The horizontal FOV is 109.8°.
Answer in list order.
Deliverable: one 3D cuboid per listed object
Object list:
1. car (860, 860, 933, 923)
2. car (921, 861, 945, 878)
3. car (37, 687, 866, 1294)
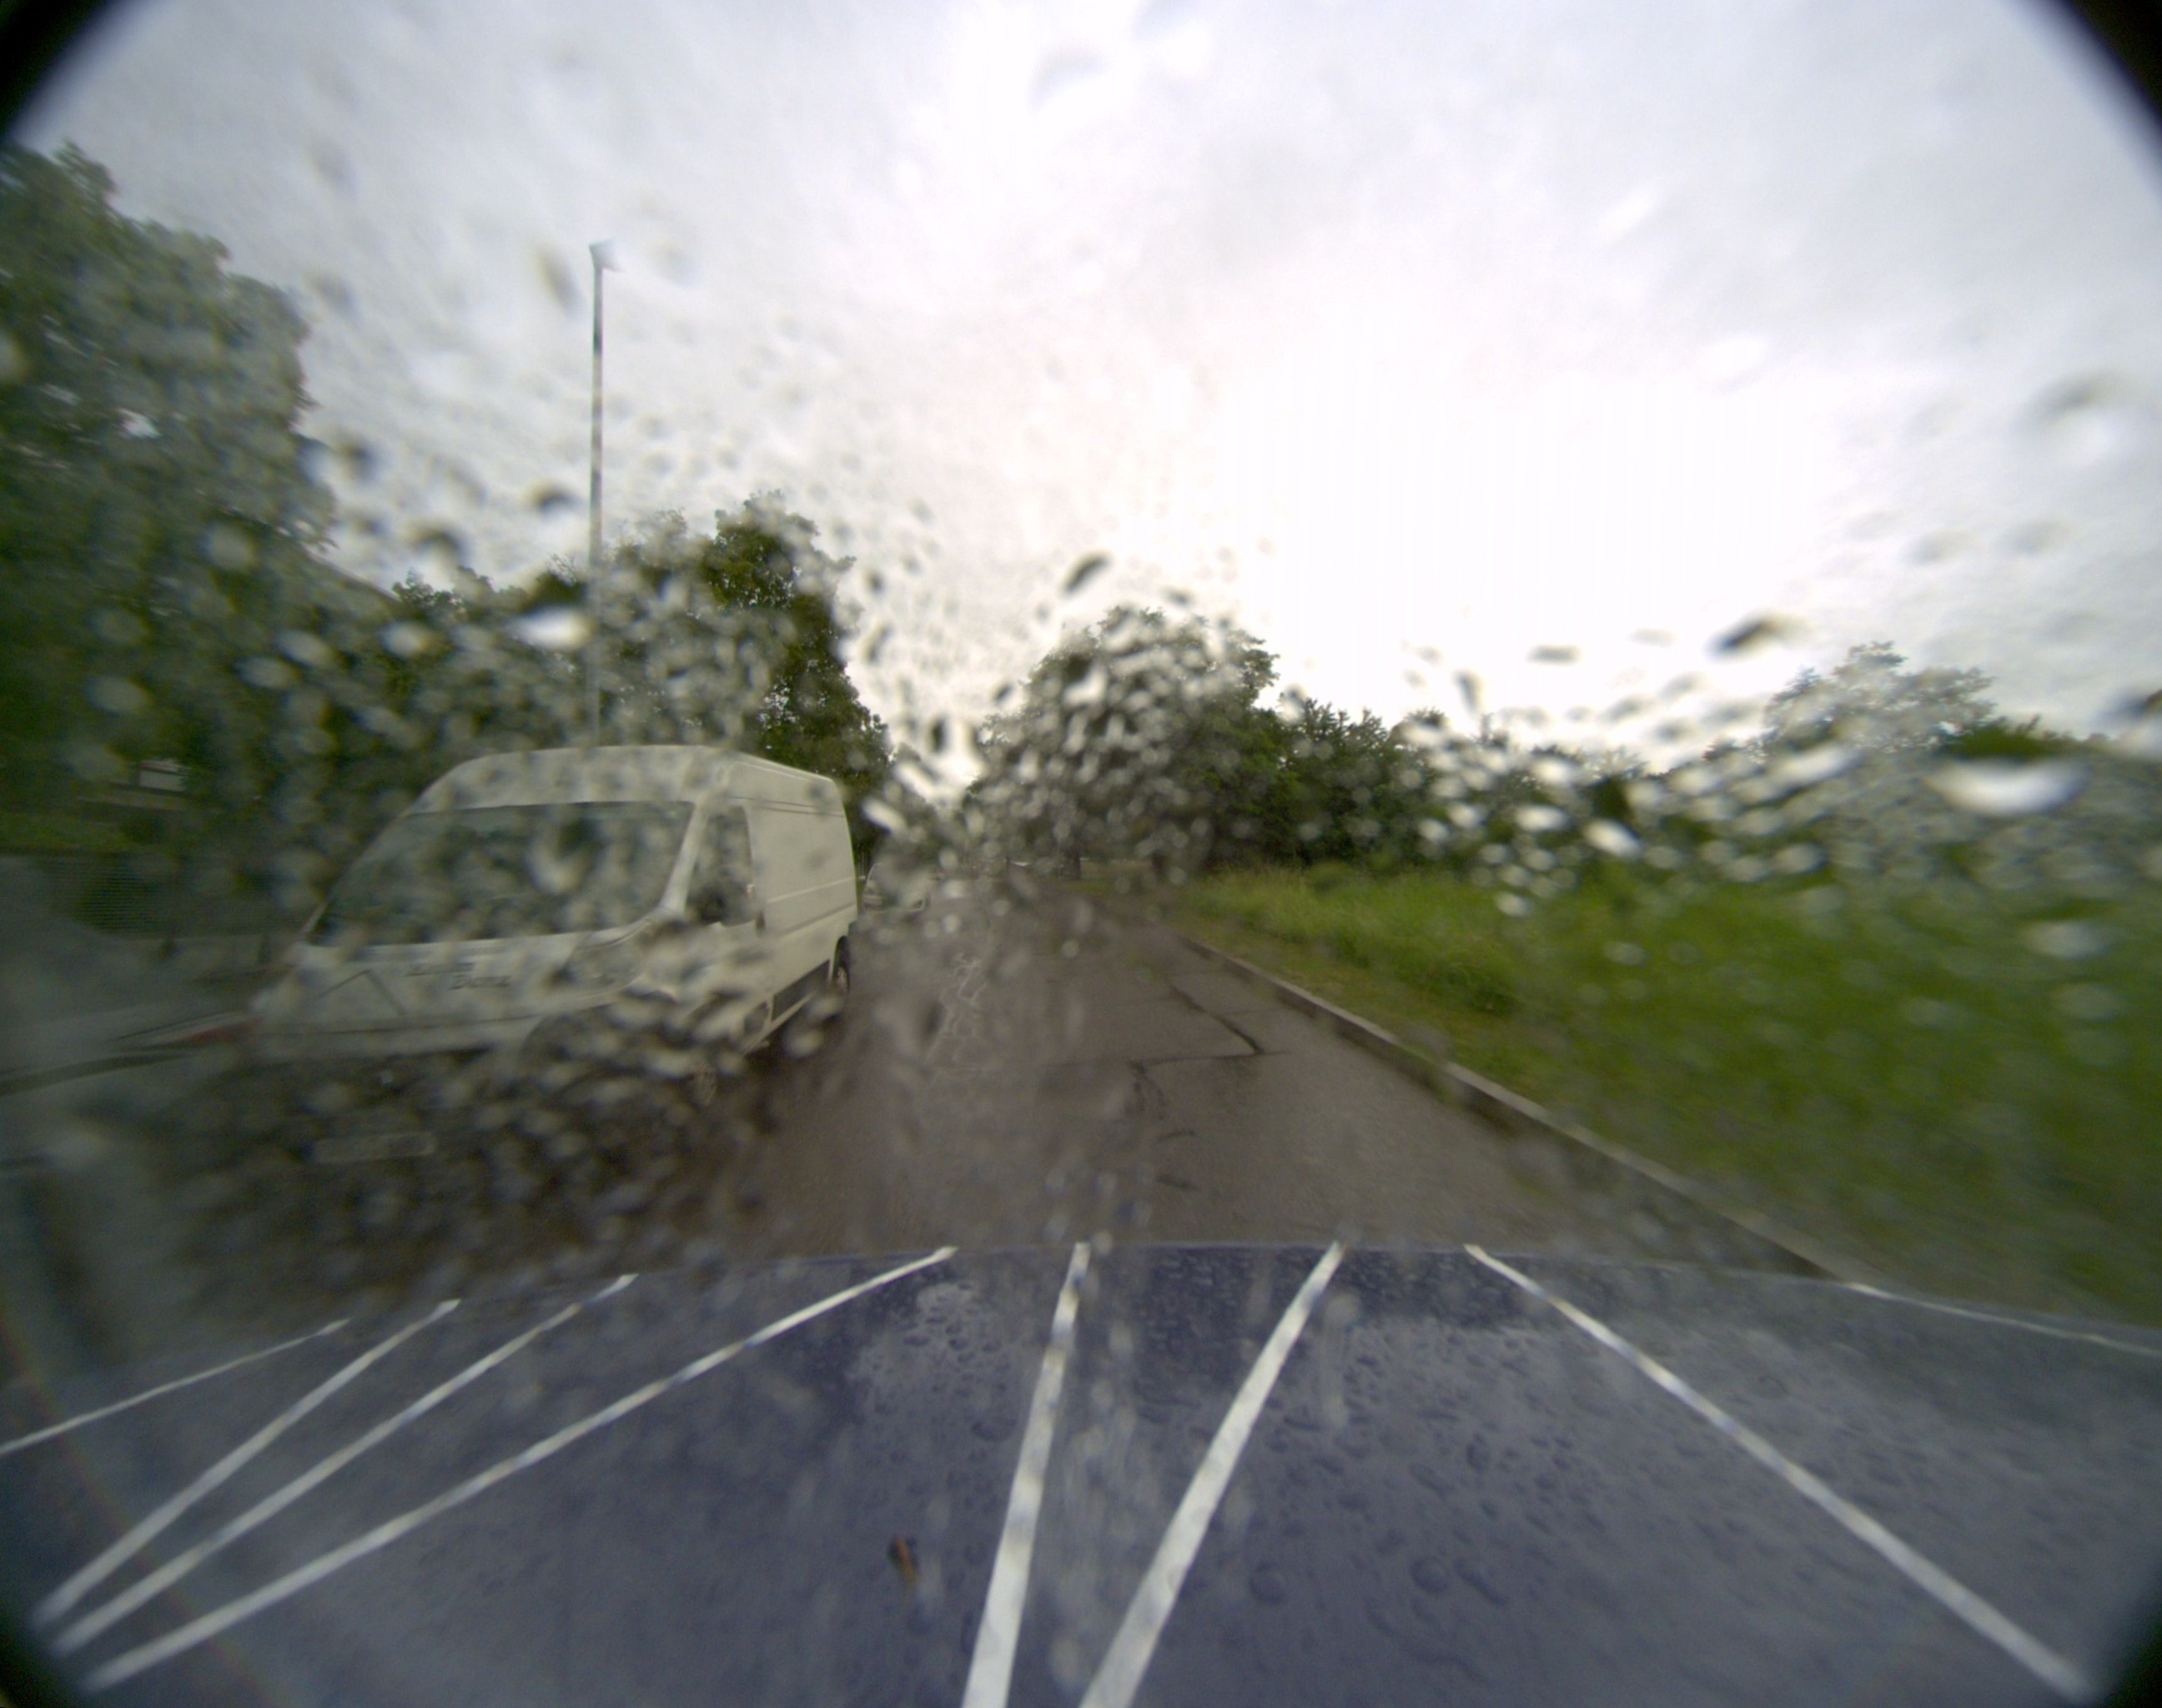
[{"bbox_3d":[-4.986,0.945,20.968,1.611,1.494,3.723,-2,0,-9],"label":"car"},{"bbox_3d":[-13.932,1.483,71.320,1.681,1.470,3.549,-2,-2,-20],"label":"car"},{"bbox_3d":[-3.357,0.532,5.932,2.124,2.453,5.507,-2,0,-5],"label":"car"}]
